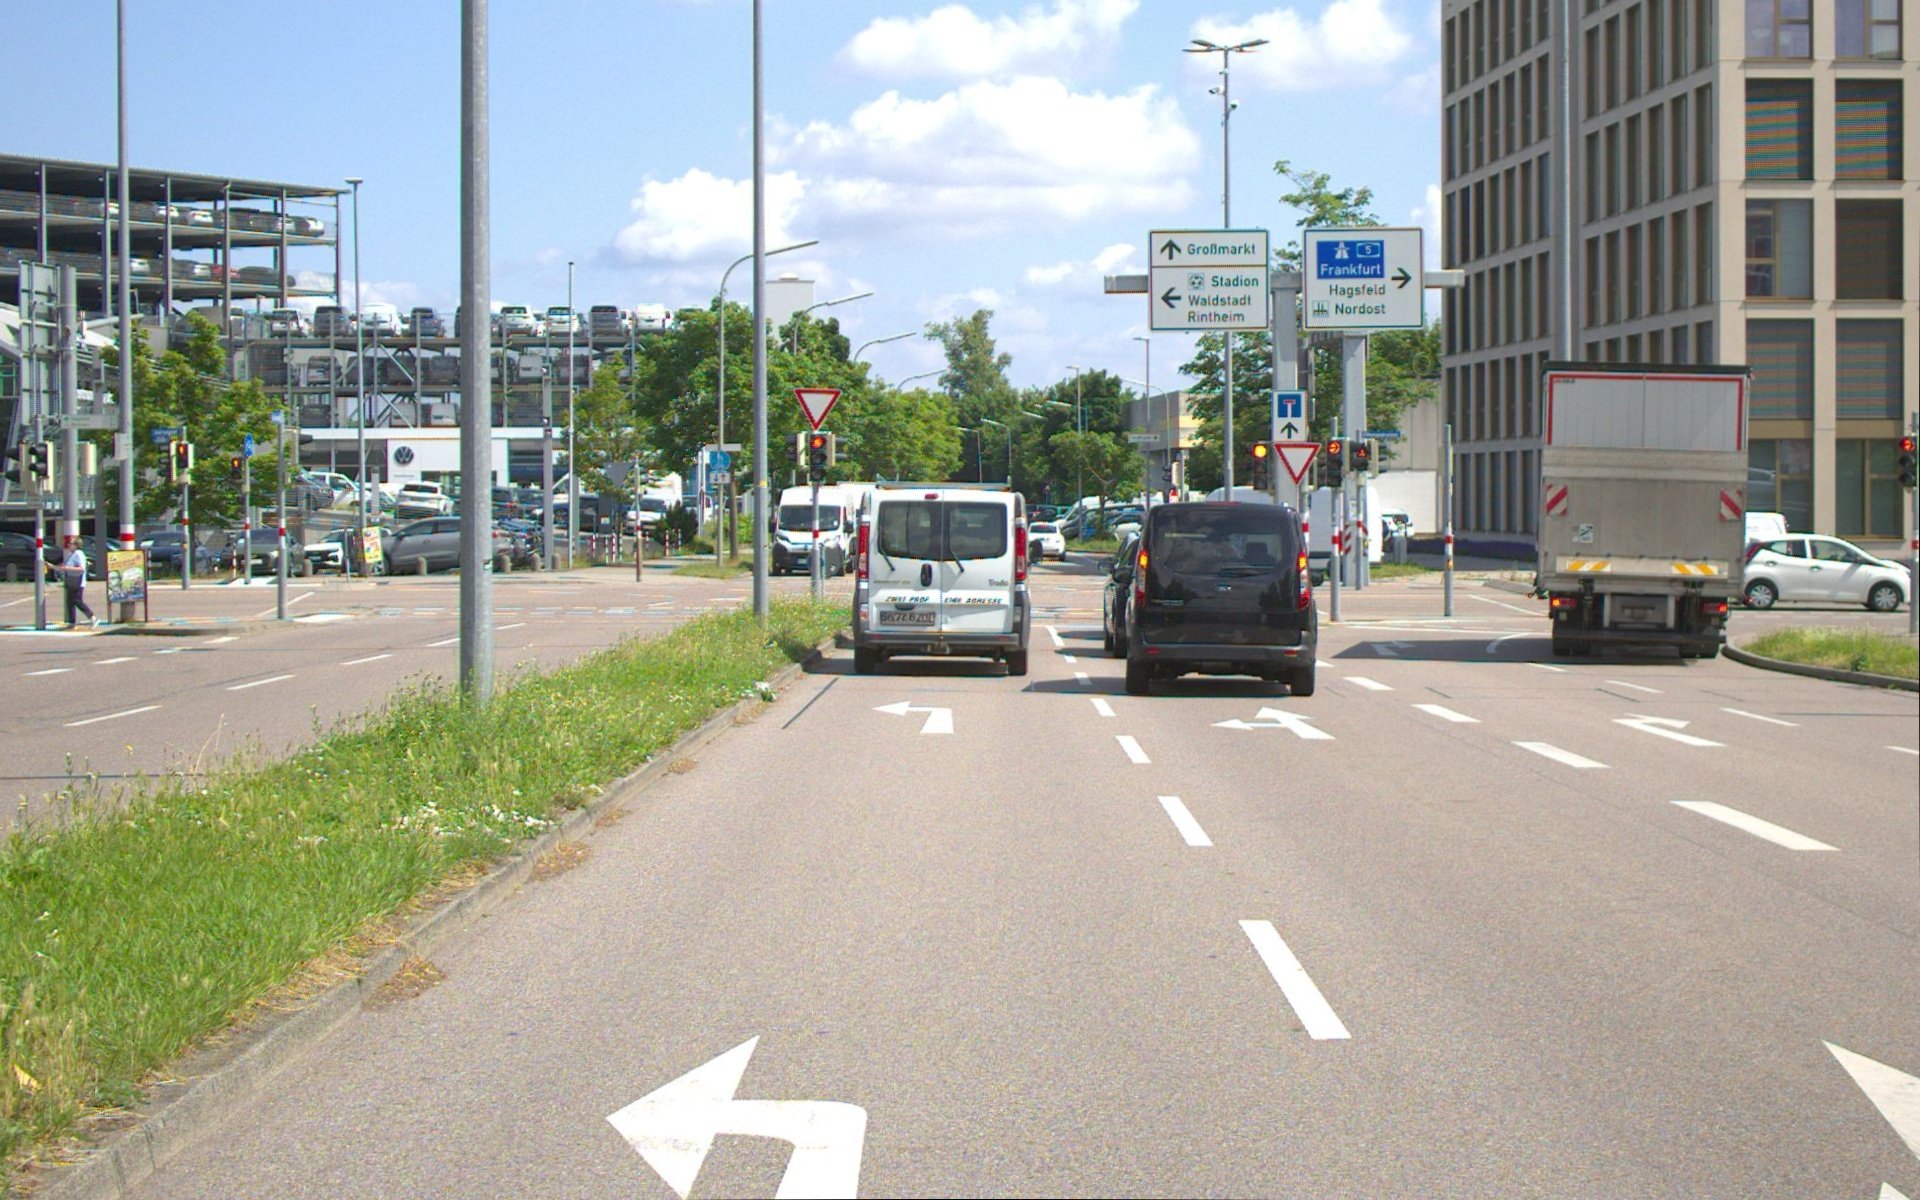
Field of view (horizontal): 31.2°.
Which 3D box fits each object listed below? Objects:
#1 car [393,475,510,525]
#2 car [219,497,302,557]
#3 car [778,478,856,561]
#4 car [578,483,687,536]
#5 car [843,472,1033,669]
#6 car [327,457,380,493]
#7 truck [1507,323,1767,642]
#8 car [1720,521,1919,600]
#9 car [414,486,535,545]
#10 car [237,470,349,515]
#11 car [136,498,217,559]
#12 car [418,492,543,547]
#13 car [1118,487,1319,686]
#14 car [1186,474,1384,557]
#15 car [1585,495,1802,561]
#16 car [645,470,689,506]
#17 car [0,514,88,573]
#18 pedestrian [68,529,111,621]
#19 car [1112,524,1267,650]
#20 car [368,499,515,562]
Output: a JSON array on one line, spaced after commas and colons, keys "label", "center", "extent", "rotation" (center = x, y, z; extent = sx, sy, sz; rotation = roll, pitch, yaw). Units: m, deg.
[{"label": "car", "center": [-18.718, -3.684, 126.727], "extent": [4.164, 1.707, 1.689], "rotation": [1, 2, -5]}, {"label": "car", "center": [-18.556, -1.941, 91.137], "extent": [1.816, 1.546, 4.001], "rotation": [0, 1, -16]}, {"label": "car", "center": [-4.068, -2.332, 98.625], "extent": [1.971, 2.248, 4.981], "rotation": [-1, 2, 0]}, {"label": "car", "center": [-12.142, -3.352, 127.605], "extent": [3.986, 1.919, 1.827], "rotation": [0, 1, -6]}, {"label": "car", "center": [-0.185, -0.351, 37.485], "extent": [1.856, 2.011, 4.000], "rotation": [1, 1, 2]}, {"label": "car", "center": [-26.378, -5.442, 149.547], "extent": [1.846, 1.524, 4.001], "rotation": [0, 2, -4]}, {"label": "truck", "center": [9.282, -1.518, 47.059], "extent": [3.131, 3.927, 8.853], "rotation": [1, 1, 12]}, {"label": "car", "center": [16.725, -0.772, 66.098], "extent": [3.851, 1.461, 1.696], "rotation": [0, 2, 0]}, {"label": "car", "center": [-14.921, -2.609, 105.719], "extent": [3.507, 1.707, 1.604], "rotation": [-2, 2, -3]}, {"label": "car", "center": [-26.191, -4.232, 135.063], "extent": [4.164, 1.707, 1.689], "rotation": [0, 1, -5]}, {"label": "car", "center": [-20.642, -1.895, 90.511], "extent": [1.816, 1.546, 4.001], "rotation": [0, 1, -16]}, {"label": "car", "center": [-15.855, -2.666, 113.844], "extent": [3.912, 1.707, 1.689], "rotation": [-2, 2, -3]}, {"label": "car", "center": [2.502, -0.180, 33.764], "extent": [1.820, 1.802, 4.000], "rotation": [1, 2, 3]}, {"label": "car", "center": [9.086, -2.397, 96.538], "extent": [5.511, 2.247, 1.995], "rotation": [2, 3, 44]}, {"label": "car", "center": [18.415, -1.810, 86.482], "extent": [4.982, 1.602, 2.000], "rotation": [0, 2, -2]}, {"label": "car", "center": [-12.632, -4.847, 148.370], "extent": [1.846, 1.524, 4.001], "rotation": [0, 2, -4]}, {"label": "car", "center": [-24.967, -1.487, 90.223], "extent": [3.791, 1.508, 1.679], "rotation": [0, 2, -4]}, {"label": "pedestrian", "center": [-14.403, -0.416, 56.860], "extent": [0.470, 1.507, 0.511], "rotation": [1, 1, 26]}, {"label": "car", "center": [2.855, -0.193, 43.426], "extent": [1.740, 1.490, 4.000], "rotation": [1, 1, 1]}, {"label": "car", "center": [-14.466, -1.955, 96.031], "extent": [3.861, 1.634, 1.858], "rotation": [-2, 2, -3]}]
